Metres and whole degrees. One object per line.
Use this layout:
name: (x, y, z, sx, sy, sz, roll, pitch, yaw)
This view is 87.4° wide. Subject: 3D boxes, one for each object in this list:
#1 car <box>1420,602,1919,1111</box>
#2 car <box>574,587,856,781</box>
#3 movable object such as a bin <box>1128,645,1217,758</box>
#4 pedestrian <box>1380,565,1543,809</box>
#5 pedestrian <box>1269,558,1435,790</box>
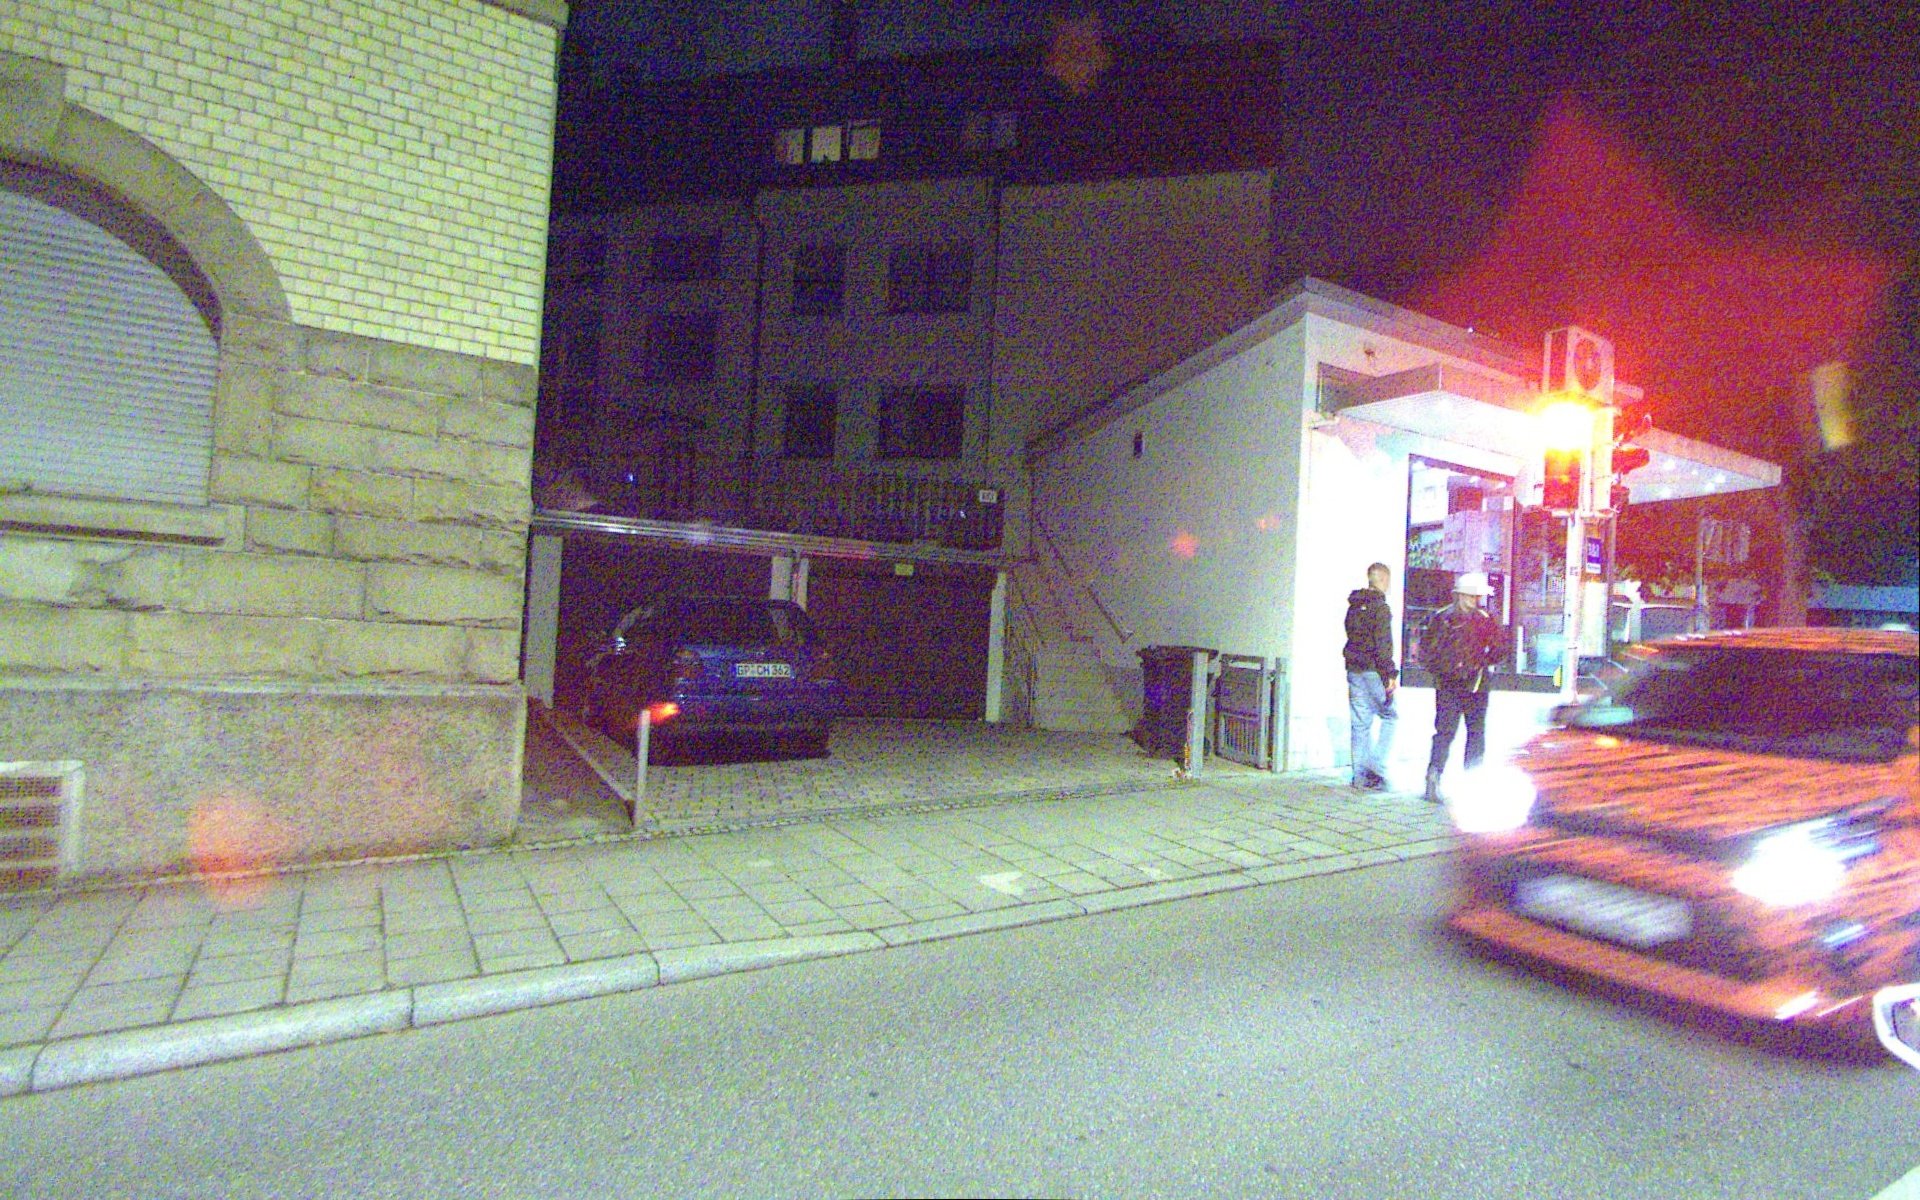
car: (3.850, 0.808, 4.590, 3.357, 1.521, 1.573, 1, 0, -32)
car: (-2.455, 0.649, 9.499, 1.655, 1.470, 3.341, 2, -1, -31)
movable object such as a bin: (2.115, 0.997, 10.028, 0.643, 1.063, 0.639, 2, 0, -12)
pedestrian: (3.913, 0.646, 7.843, 1.017, 1.768, 0.672, 2, 0, -31)
pedestrian: (3.228, 0.578, 8.279, 1.091, 1.768, 0.738, 2, 0, -31)
